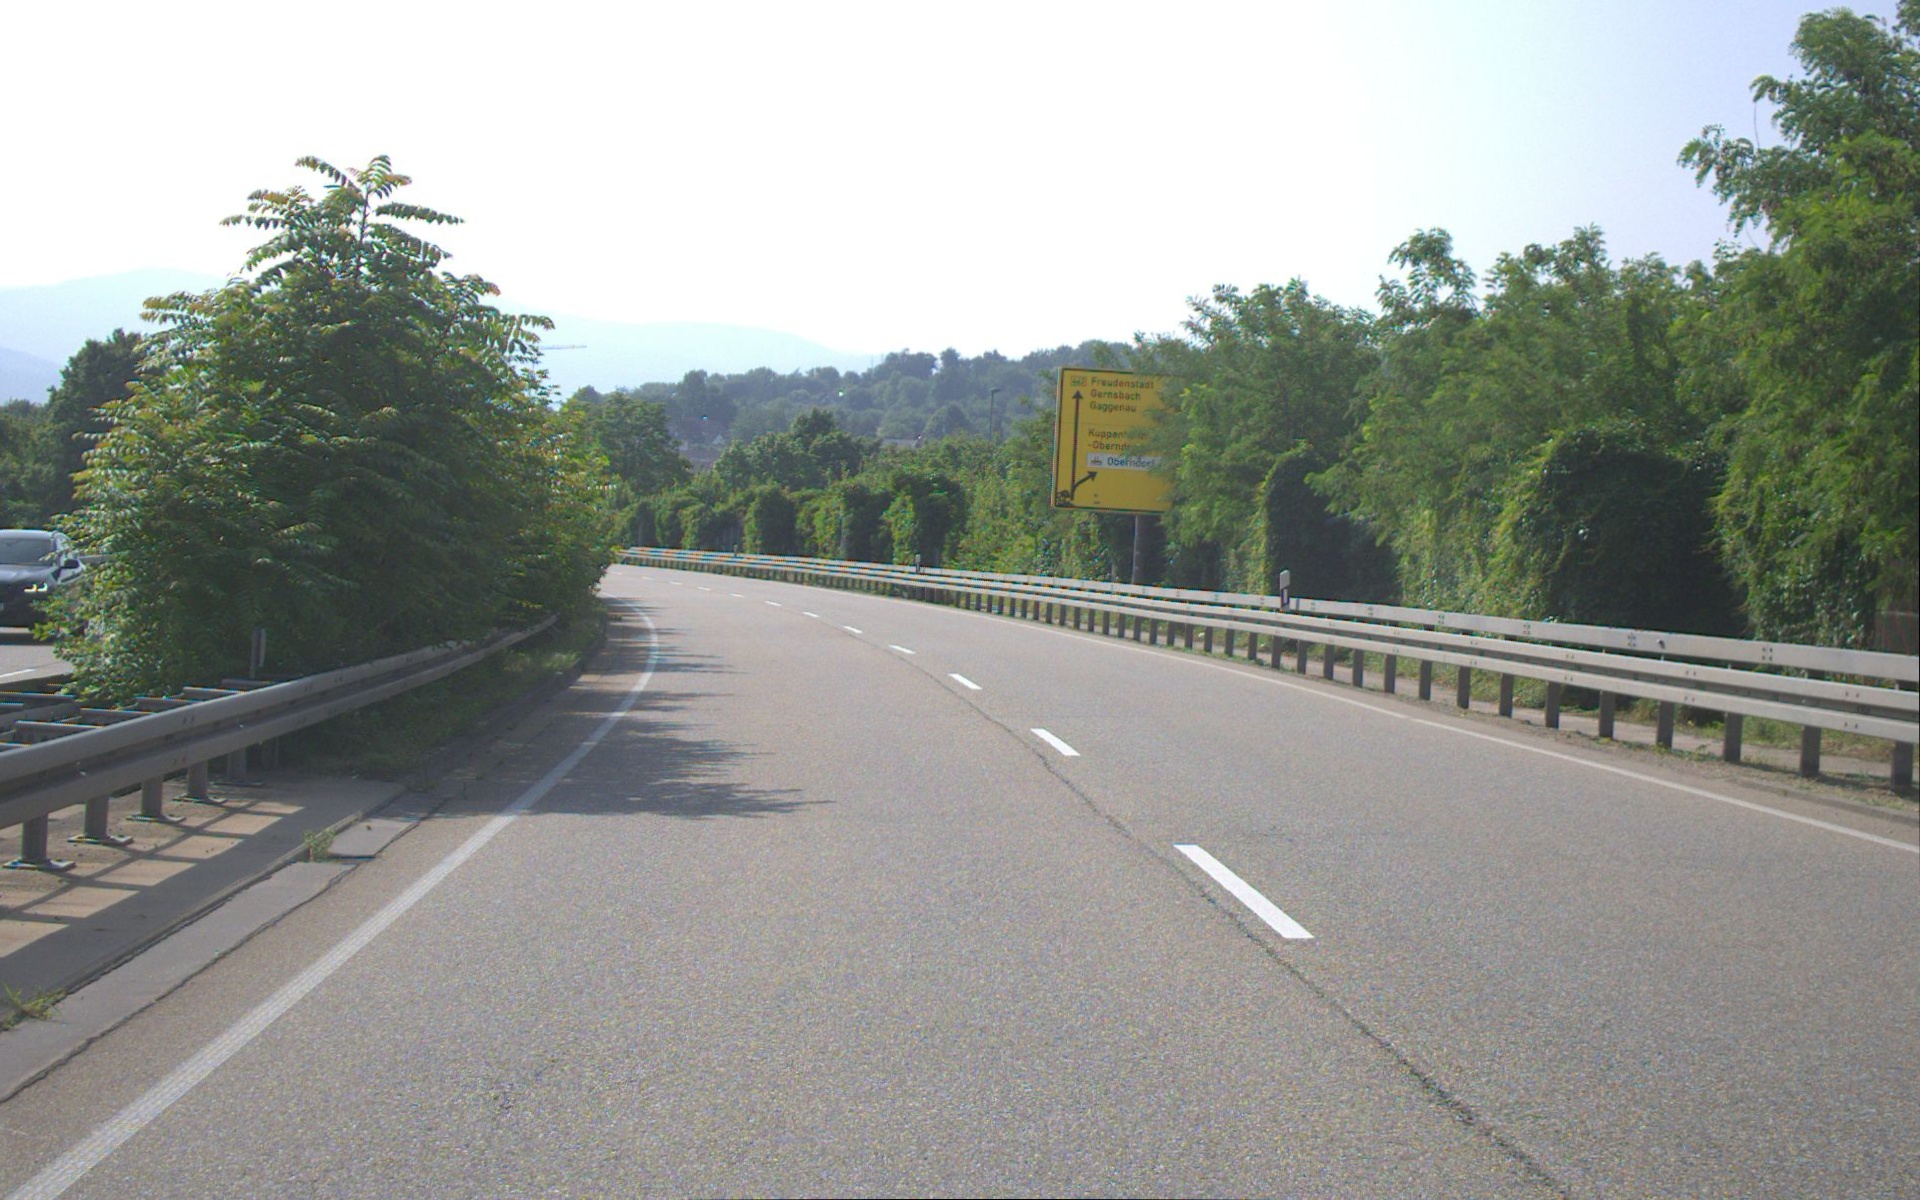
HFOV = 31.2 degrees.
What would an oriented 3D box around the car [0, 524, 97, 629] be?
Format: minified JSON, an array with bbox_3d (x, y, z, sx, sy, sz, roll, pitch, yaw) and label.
[{"bbox_3d":[-14.495,-0.390,53.211,1.667,1.559,3.490,0,1,-5],"label":"car"}]
